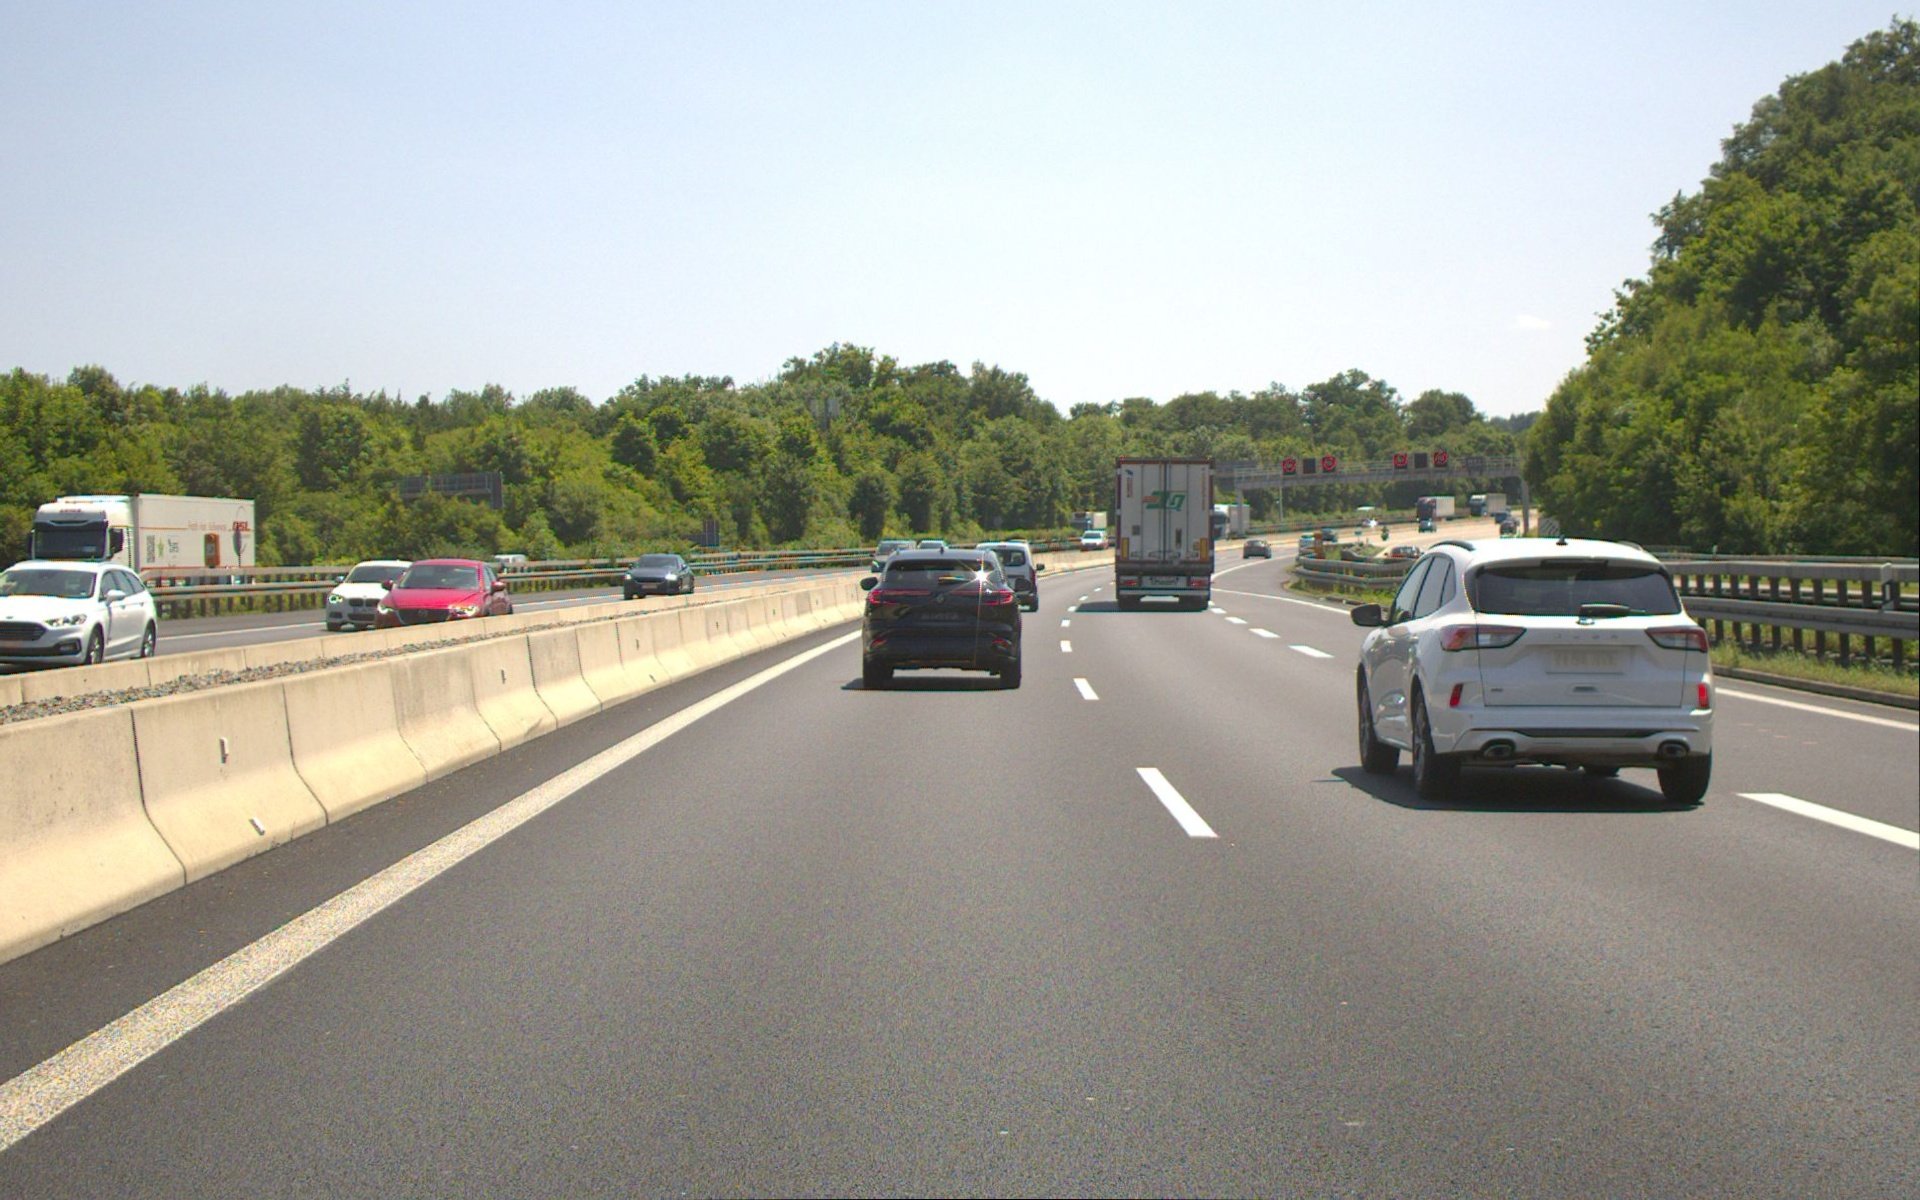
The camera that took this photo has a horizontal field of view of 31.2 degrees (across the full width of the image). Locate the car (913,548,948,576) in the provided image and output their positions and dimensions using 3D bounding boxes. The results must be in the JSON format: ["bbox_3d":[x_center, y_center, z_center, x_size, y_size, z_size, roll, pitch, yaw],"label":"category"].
[{"bbox_3d":[-1.735,-2.271,204.668,1.788,1.626,4.929,0,1,3],"label":"car"}]

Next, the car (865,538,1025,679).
[{"bbox_3d":[-0.219,0.083,40.410,1.779,1.572,4.000,0,0,-2],"label":"car"}]

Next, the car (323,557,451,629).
[{"bbox_3d":[-11.779,-0.172,70.880,1.850,1.390,4.000,1,1,1],"label":"car"}]

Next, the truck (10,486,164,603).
[{"bbox_3d":[-26.805,-1.680,105.752,3.083,3.491,5.409,0,0,3],"label":"truck"}]

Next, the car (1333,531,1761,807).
[{"bbox_3d":[3.774,0.399,22.903,1.993,1.656,4.468,0,0,-1],"label":"car"}]

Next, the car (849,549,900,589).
[{"bbox_3d":[-3.949,-1.425,159.608,2.035,1.851,5.374,0,0,3],"label":"car"}]

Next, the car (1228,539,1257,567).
[{"bbox_3d":[20.807,-3.427,252.809,1.994,2.007,3.999,0,0,6],"label":"car"}]

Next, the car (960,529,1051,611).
[{"bbox_3d":[1.221,-0.805,90.149,1.994,2.007,3.999,-3,1,5],"label":"car"}]

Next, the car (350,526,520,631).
[{"bbox_3d":[-8.532,-0.350,56.209,1.993,1.653,4.634,0,0,1],"label":"car"}]

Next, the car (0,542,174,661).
[{"bbox_3d":[-12.267,0.007,46.762,1.993,1.538,5.041,0,0,0],"label":"car"}]

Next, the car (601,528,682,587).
[{"bbox_3d":[-10.164,-1.341,109.928,1.993,1.818,4.905,0,0,2],"label":"car"}]

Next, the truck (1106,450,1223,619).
[{"bbox_3d":[5.572,-1.739,95.448,3.032,4.403,12.018,0,0,2],"label":"truck"}]
